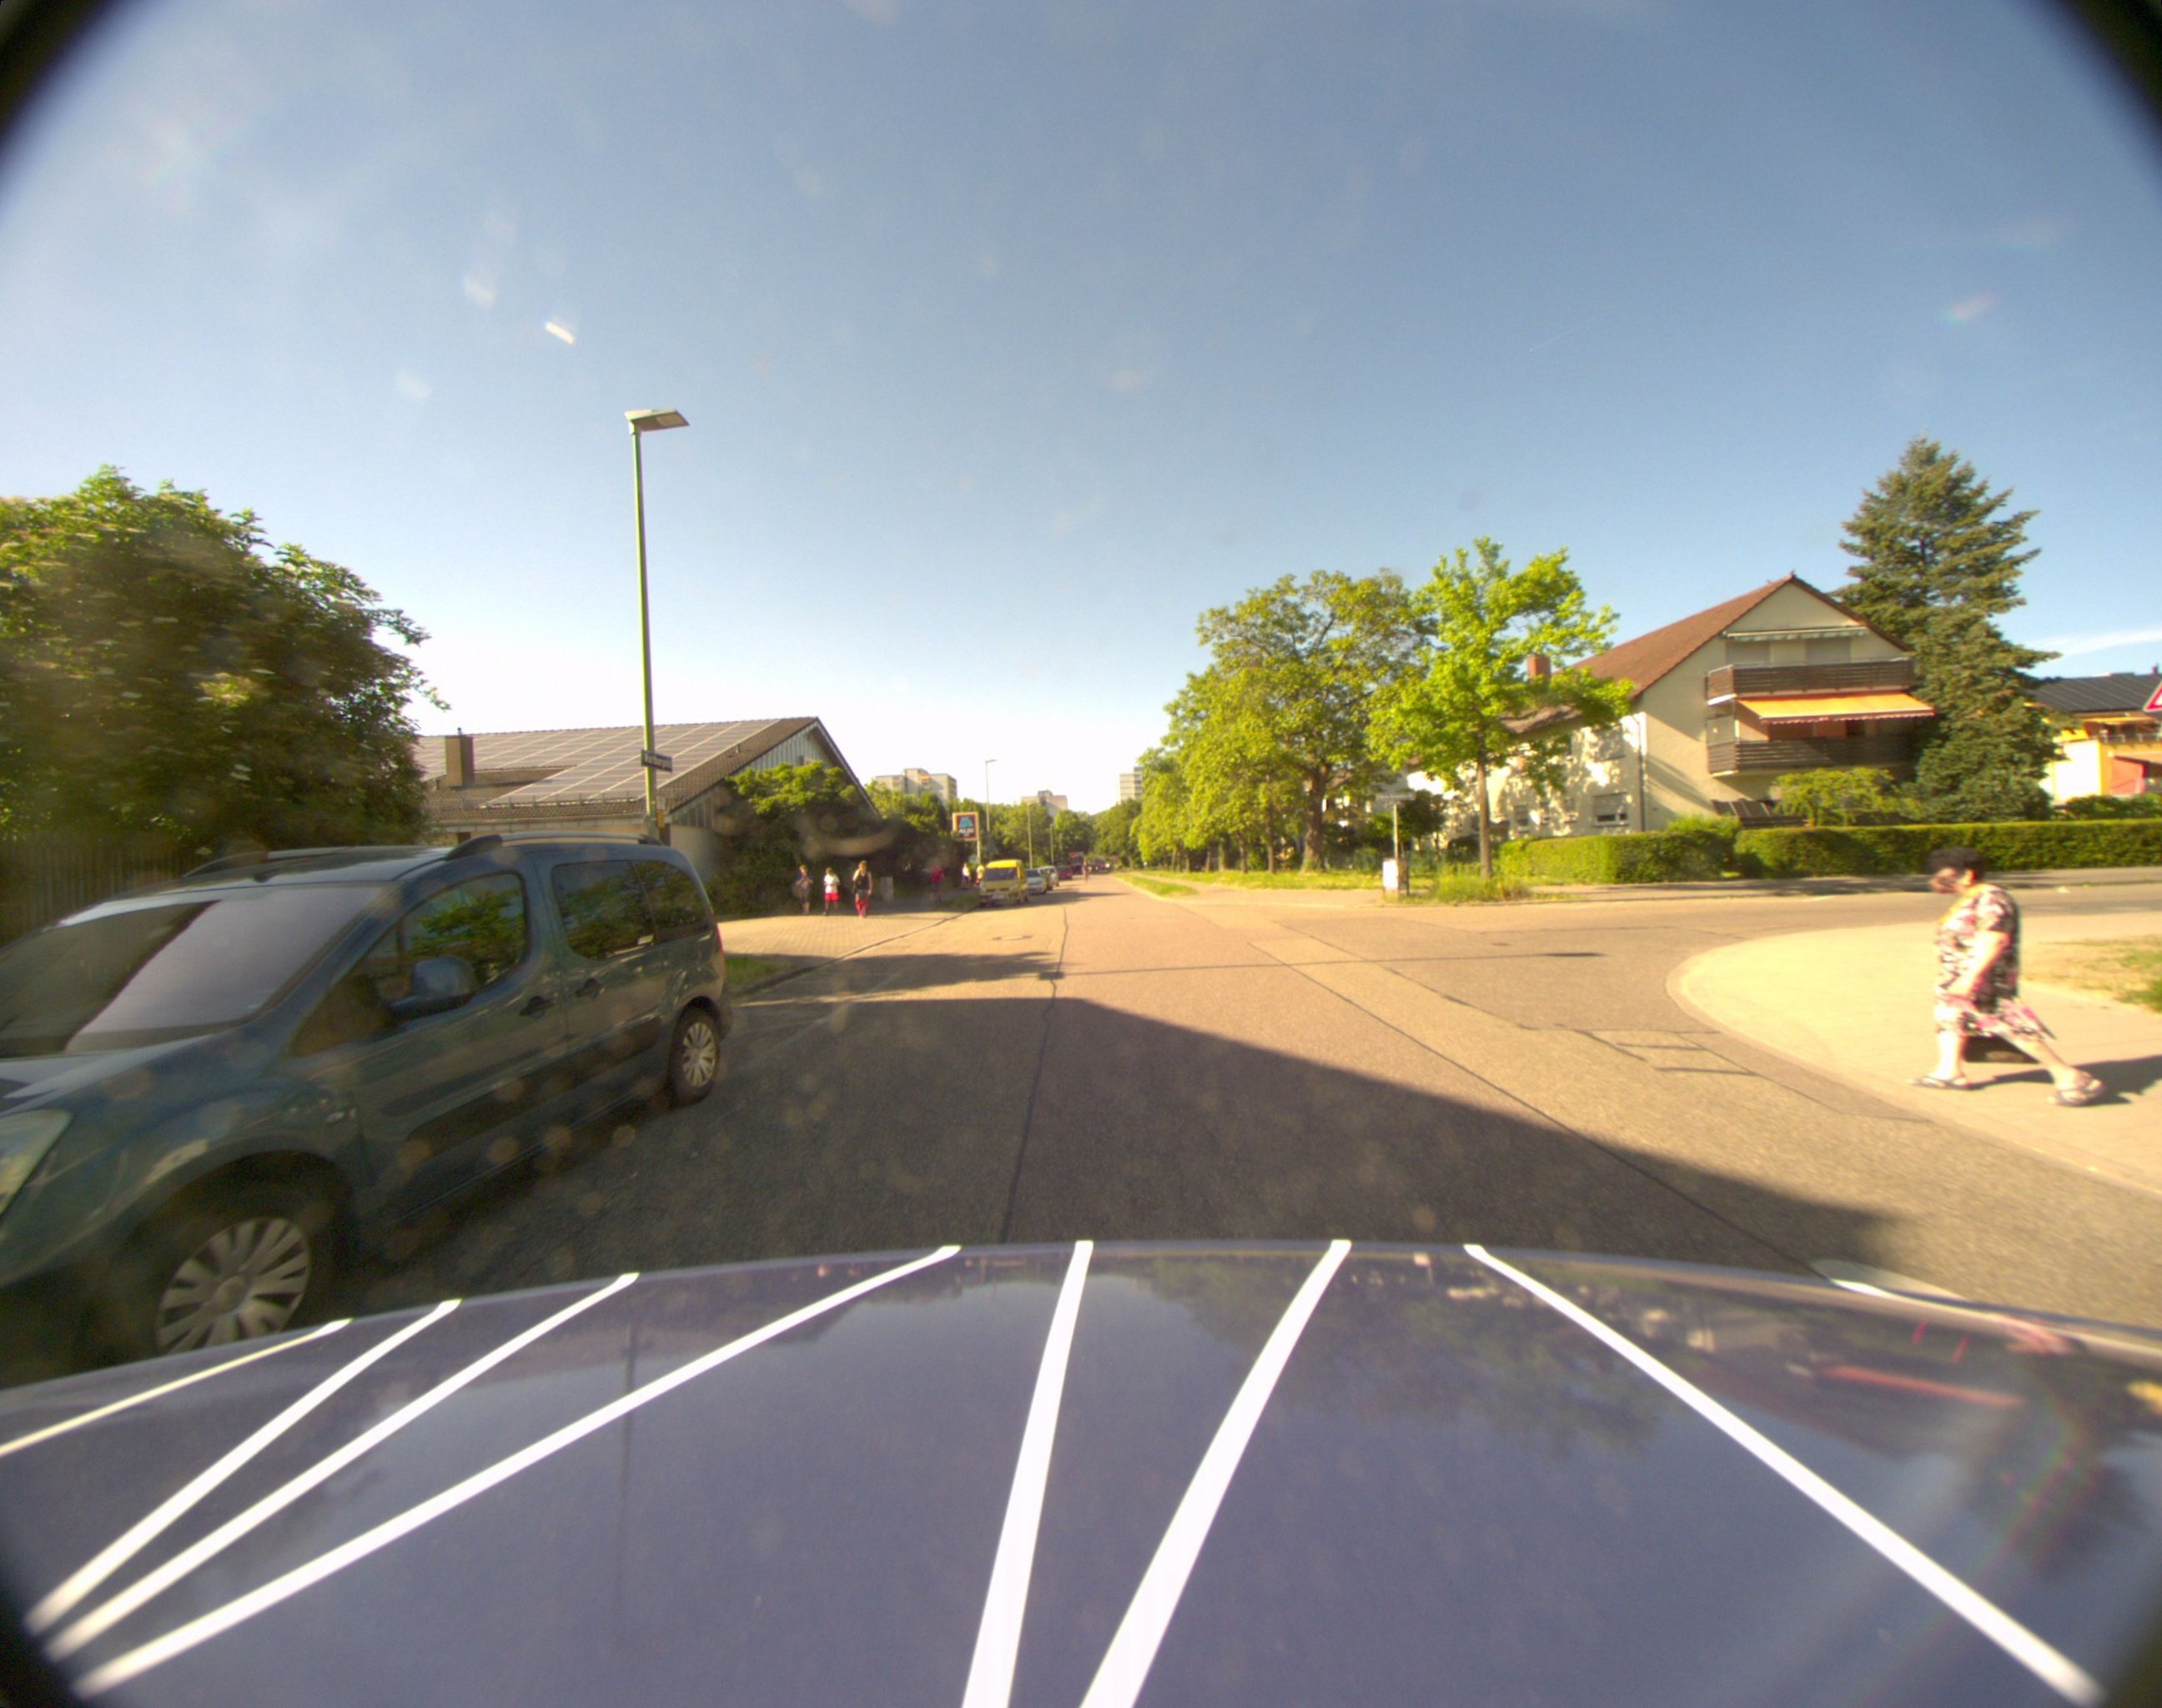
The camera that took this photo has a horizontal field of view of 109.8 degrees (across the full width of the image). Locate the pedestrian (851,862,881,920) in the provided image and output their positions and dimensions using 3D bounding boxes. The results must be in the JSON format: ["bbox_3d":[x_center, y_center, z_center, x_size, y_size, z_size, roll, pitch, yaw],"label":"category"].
[{"bbox_3d":[-6.448,1.101,22.830,0.635,1.679,0.896,1,0,-2],"label":"pedestrian"}]

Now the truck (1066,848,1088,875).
[{"bbox_3d":[-0.640,1.351,140.434,3.601,4.543,10.025,-2,0,2],"label":"truck"}]

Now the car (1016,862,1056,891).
[{"bbox_3d":[-2.754,1.372,47.616,1.998,1.587,4.579,-3,-1,2],"label":"car"}]

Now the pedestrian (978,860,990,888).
[{"bbox_3d":[-6.348,1.319,49.744,0.673,1.758,0.590,-2,0,1],"label":"pedestrian"}]

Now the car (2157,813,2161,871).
[{"bbox_3d":[28.804,-0.402,17.826,4.106,1.449,2.116,-3,0,0],"label":"car"}]

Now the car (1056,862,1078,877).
[{"bbox_3d":[-1.545,1.723,85.830,1.998,1.587,4.579,-3,0,3],"label":"car"}]

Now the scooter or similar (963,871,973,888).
[{"bbox_3d":[-7.348,1.665,49.558,0.478,1.071,0.841,-2,0,1],"label":"scooter or similar"}]

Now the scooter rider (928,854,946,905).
[{"bbox_3d":[-5.687,0.992,30.010,0.599,2.002,0.486,1,0,-5],"label":"scooter rider"}]

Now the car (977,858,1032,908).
[{"bbox_3d":[-2.979,1.098,30.232,1.621,1.766,3.982,-3,0,1],"label":"car"}]

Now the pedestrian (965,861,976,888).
[{"bbox_3d":[-7.340,1.331,50.333,0.541,1.758,0.590,-2,0,1],"label":"pedestrian"}]

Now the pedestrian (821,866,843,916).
[{"bbox_3d":[-7.702,1.142,23.532,0.447,1.524,0.666,1,0,-2],"label":"pedestrian"}]

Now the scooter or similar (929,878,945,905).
[{"bbox_3d":[-5.692,1.476,30.082,0.457,1.024,1.049,1,0,-4],"label":"scooter or similar"}]

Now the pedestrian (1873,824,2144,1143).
[{"bbox_3d":[5.184,0.675,4.322,0.633,1.577,0.834,-7,1,-44],"label":"pedestrian"}]

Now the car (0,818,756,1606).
[{"bbox_3d":[-3.484,0.905,3.454,1.861,1.837,4.560,-4,0,1],"label":"car"}]

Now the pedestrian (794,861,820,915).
[{"bbox_3d":[-8.555,1.061,23.739,0.583,1.654,0.642,1,0,-2],"label":"pedestrian"}]

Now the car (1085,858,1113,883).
[{"bbox_3d":[1.505,1.363,65.099,1.965,1.908,4.576,-3,1,-2],"label":"car"}]

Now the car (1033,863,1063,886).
[{"bbox_3d":[-2.506,1.567,59.417,1.998,1.587,4.578,-3,-1,1],"label":"car"}]

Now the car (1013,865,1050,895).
[{"bbox_3d":[-2.678,1.386,41.869,1.621,1.478,3.982,-3,0,1],"label":"car"}]
